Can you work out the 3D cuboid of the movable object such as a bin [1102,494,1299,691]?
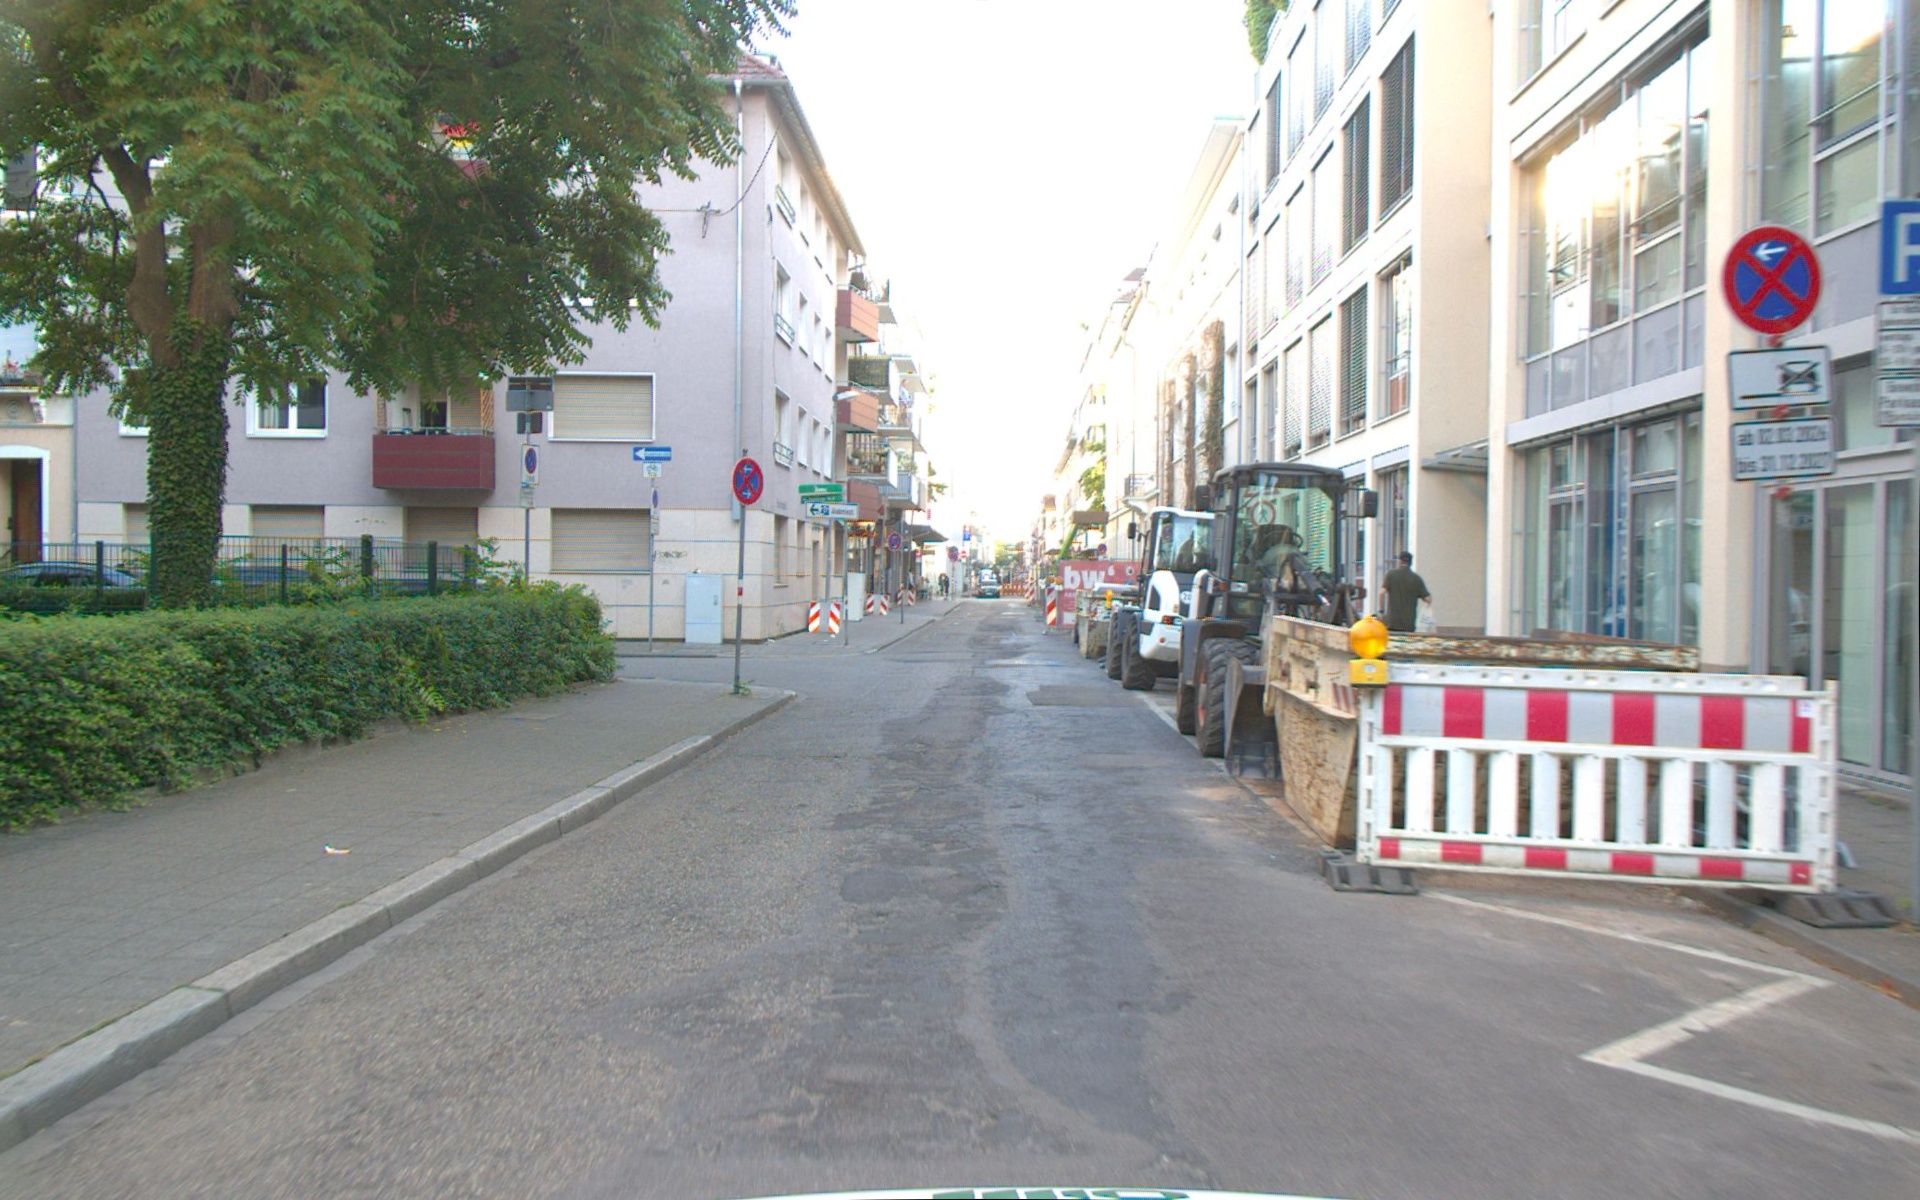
[{"bbox_3d":[3.335,-0.128,23.761,2.230,2.584,4.098,0,1,0],"label":"movable object such as a bin"}]

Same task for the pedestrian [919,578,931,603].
[{"bbox_3d":[-2.031,-0.569,96.325,0.650,1.463,0.533,0,0,5],"label":"pedestrian"}]

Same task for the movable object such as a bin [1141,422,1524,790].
[{"bbox_3d":[3.086,0.006,15.159,2.230,2.739,5.649,0,1,0],"label":"movable object such as a bin"}]

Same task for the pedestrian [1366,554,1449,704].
[{"bbox_3d":[5.769,0.359,21.343,0.869,1.883,0.876,1,0,4],"label":"pedestrian"}]

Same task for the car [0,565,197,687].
[{"bbox_3d":[-14.162,0.375,25.985,3.450,1.787,1.885,1,2,-1],"label":"car"}]

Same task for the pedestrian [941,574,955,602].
[{"bbox_3d":[-0.756,-0.758,102.501,0.780,1.690,0.745,0,1,4],"label":"pedestrian"}]

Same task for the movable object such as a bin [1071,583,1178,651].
[{"bbox_3d":[3.646,0.343,37.261,2.004,1.436,3.974,0,1,0],"label":"movable object such as a bin"}]

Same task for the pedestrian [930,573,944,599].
[{"bbox_3d":[-1.492,-0.913,107.241,0.780,1.621,0.745,0,0,4],"label":"pedestrian"}]

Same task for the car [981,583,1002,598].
[{"bbox_3d":[2.516,-0.777,132.406,1.505,1.154,3.120,0,1,-2],"label":"car"}]
